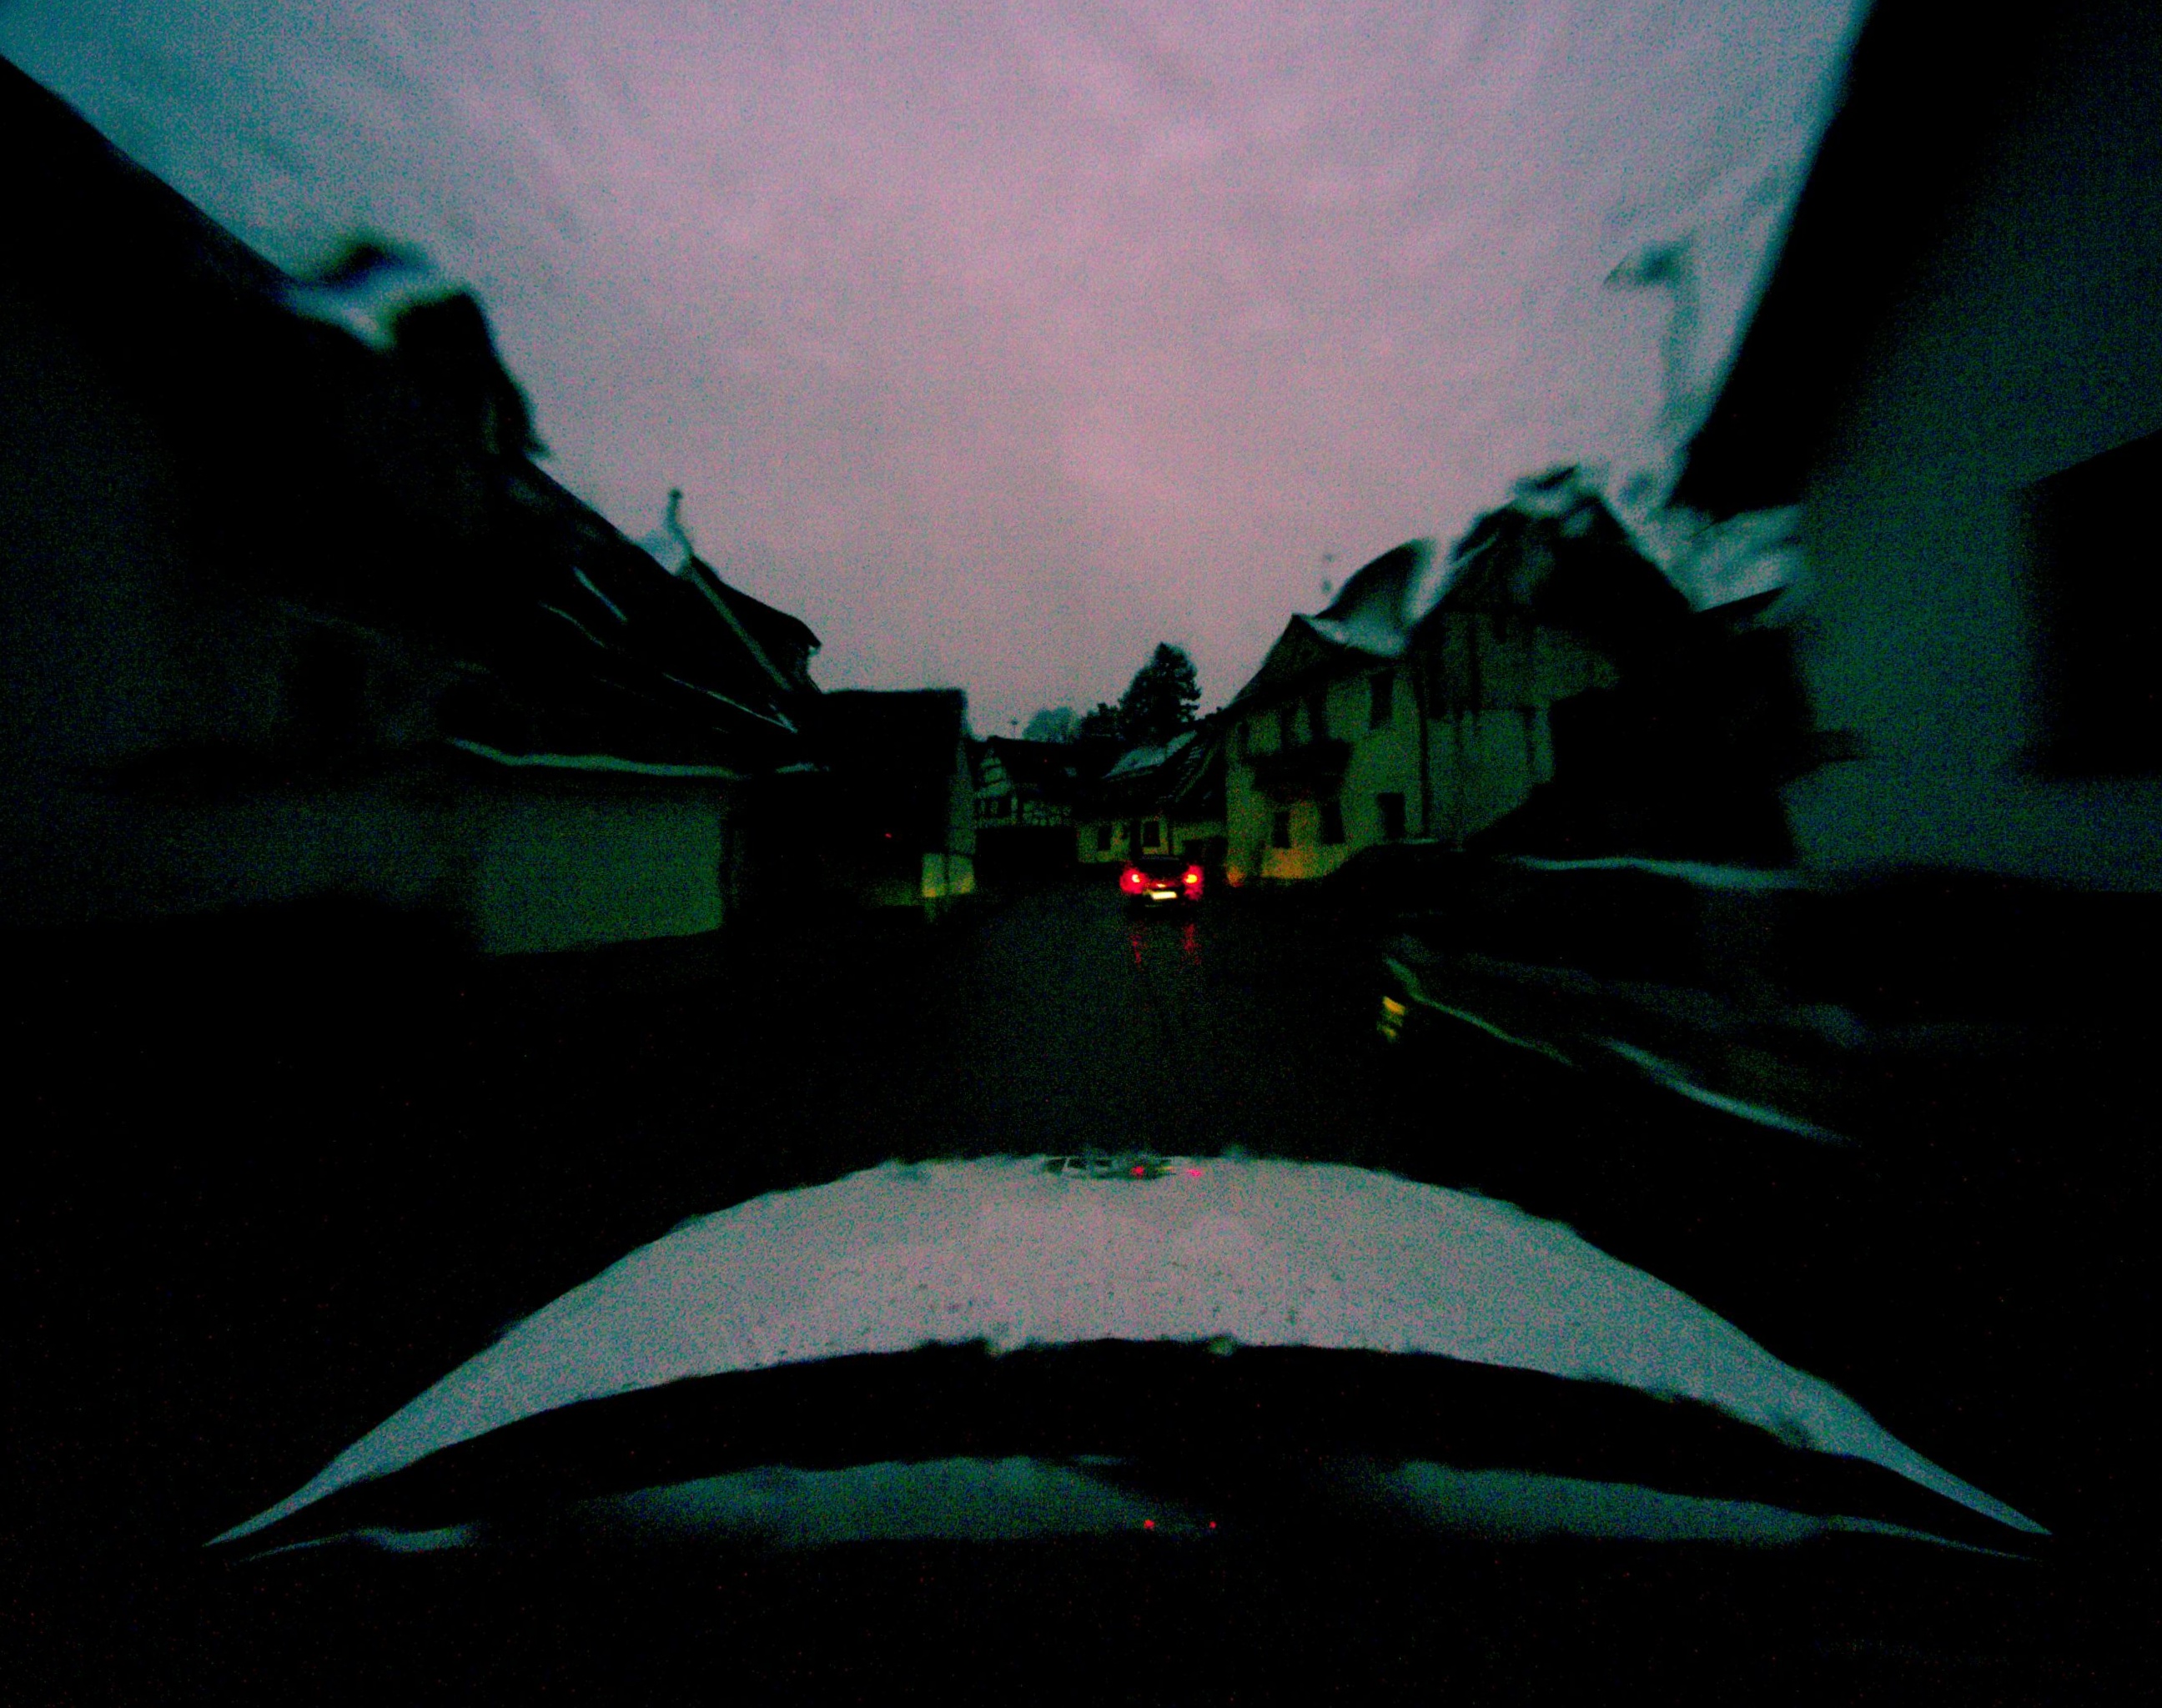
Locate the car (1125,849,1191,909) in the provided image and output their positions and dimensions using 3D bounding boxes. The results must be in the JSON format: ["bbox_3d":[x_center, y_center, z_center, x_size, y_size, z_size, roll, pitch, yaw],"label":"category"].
[{"bbox_3d":[1.983,0.626,21.811,1.540,1.466,3.700,0,0,2],"label":"car"}]

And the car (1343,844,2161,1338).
[{"bbox_3d":[2.906,0.735,4.487,1.633,1.494,3.999,1,0,0],"label":"car"}]

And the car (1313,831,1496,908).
[{"bbox_3d":[7.354,0.375,19.047,1.809,1.487,4.258,-3,-1,-13],"label":"car"}]
